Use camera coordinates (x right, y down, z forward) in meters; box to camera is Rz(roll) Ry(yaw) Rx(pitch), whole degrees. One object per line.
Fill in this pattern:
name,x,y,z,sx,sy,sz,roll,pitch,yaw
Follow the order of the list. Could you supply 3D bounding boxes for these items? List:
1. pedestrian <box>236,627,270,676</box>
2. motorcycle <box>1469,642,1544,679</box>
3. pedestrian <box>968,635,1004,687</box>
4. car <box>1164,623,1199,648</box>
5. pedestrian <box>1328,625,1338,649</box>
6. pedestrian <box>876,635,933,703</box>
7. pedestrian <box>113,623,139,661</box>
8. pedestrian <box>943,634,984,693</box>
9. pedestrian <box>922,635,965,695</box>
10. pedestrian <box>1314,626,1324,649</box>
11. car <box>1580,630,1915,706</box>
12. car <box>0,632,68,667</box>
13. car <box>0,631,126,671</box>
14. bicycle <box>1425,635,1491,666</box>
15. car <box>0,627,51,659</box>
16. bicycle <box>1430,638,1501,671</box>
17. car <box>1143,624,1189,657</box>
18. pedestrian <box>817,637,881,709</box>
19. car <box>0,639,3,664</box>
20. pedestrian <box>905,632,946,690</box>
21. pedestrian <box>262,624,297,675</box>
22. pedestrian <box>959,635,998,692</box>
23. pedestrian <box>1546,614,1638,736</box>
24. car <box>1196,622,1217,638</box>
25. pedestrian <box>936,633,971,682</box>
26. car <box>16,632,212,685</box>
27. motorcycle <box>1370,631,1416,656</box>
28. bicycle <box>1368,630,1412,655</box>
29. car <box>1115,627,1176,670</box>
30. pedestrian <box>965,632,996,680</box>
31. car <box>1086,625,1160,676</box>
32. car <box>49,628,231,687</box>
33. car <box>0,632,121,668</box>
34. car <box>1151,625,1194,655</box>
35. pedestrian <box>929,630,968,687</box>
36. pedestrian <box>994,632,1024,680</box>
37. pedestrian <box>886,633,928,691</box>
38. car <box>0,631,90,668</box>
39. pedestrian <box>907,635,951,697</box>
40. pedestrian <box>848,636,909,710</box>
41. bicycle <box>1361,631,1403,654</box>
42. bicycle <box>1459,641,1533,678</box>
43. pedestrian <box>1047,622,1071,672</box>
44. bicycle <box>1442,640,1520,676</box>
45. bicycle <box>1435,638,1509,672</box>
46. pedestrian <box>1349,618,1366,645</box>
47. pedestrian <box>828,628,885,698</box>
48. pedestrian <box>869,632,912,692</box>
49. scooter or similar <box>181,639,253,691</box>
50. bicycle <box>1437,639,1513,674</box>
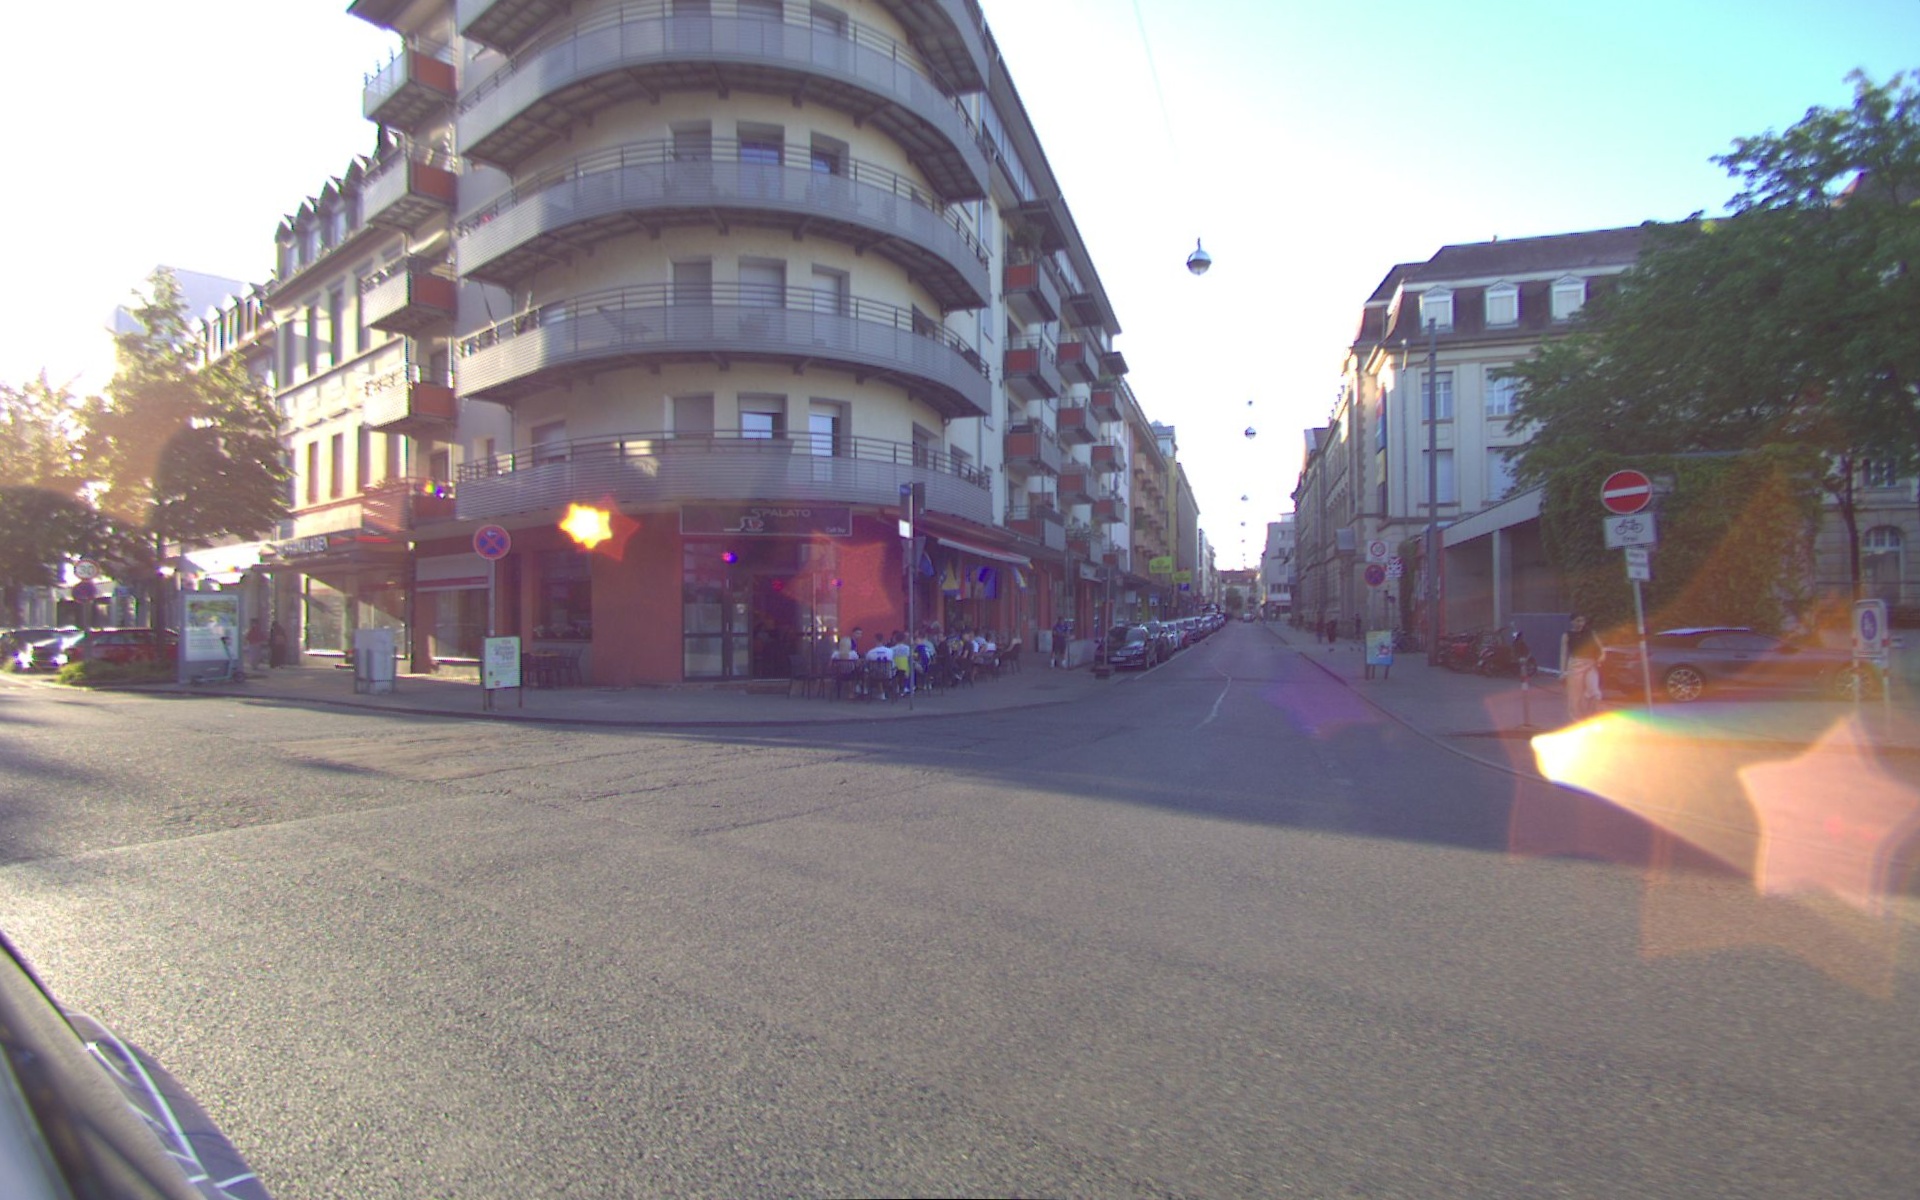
pedestrian,-23.258,1.677,33.304,0.875,1.539,0.726,0,0,41
motorcycle,13.973,1.544,25.892,1.774,0.887,0.512,-1,-2,-13
pedestrian,0.644,1.502,25.079,0.698,1.234,0.616,0,-1,27
car,14.563,2.329,66.486,1.953,1.608,3.978,-1,-2,17
pedestrian,22.480,2.229,60.996,0.513,1.407,0.397,-1,-2,13
pedestrian,-1.073,1.322,19.570,0.827,1.256,0.715,0,-1,34
pedestrian,-39.270,1.973,47.651,0.875,1.734,0.764,0,0,41
pedestrian,0.072,1.425,22.912,0.699,1.297,0.615,0,-1,31
pedestrian,-0.359,1.402,22.078,0.699,1.256,0.615,0,-1,31
pedestrian,21.742,2.257,61.281,0.537,1.407,0.383,-1,-2,14
car,14.576,1.260,19.020,4.478,1.328,1.994,-1,-2,10
car,-43.717,2.290,46.758,1.714,1.513,3.521,-2,-1,39
car,-36.384,2.016,40.726,1.881,1.414,4.068,-2,-1,38
bicycle,15.696,1.592,31.952,0.502,0.930,1.808,0,-2,-37
car,-49.541,2.244,51.704,1.888,1.608,4.363,-3,-1,39
bicycle,14.896,1.598,29.882,1.791,0.930,0.507,-2,-2,20
car,10.572,2.042,51.808,1.953,1.608,3.978,-1,-2,17
pedestrian,-2.035,1.319,18.614,0.765,1.251,0.891,0,-1,32
car,-61.130,3.194,61.472,1.743,1.495,4.231,-2,-1,40
pedestrian,-0.795,1.412,23.517,0.699,1.297,0.650,0,-1,31
pedestrian,-22.787,1.647,33.891,0.875,1.620,0.764,0,0,41
pedestrian,0.440,1.472,23.780,0.699,1.297,0.615,0,-1,31
pedestrian,8.500,0.991,13.650,0.760,1.579,0.896,-1,-2,15
car,25.380,3.035,104.161,1.953,1.608,3.978,-1,-2,17
pedestrian,-0.168,1.484,26.187,0.698,1.234,0.616,0,-1,27
car,-26.932,1.801,32.352,1.819,1.418,4.526,-2,-1,39
motorcycle,19.302,1.945,45.127,1.791,1.087,0.507,-2,-2,20
bicycle,19.474,1.944,45.825,1.793,1.087,0.507,-2,-2,23
car,7.412,1.896,40.185,1.953,1.608,3.978,-1,-2,17
pedestrian,0.576,1.543,28.150,0.696,1.297,0.618,0,-1,19
car,5.573,1.668,34.209,1.953,1.608,3.978,-1,-2,17
car,-24.830,1.691,30.756,1.883,1.548,4.031,-2,-1,40
car,-38.206,2.083,42.727,1.842,1.414,4.054,-2,-2,42
car,11.826,2.179,56.162,1.953,1.608,3.978,-1,-2,17
pedestrian,-0.280,1.406,24.545,0.699,1.343,0.615,0,-1,31
pedestrian,1.372,1.553,28.206,0.696,1.297,0.618,0,-1,19
pedestrian,-1.175,1.371,22.532,0.699,1.256,0.615,0,-1,31
car,-40.668,2.147,44.267,1.803,1.455,3.703,-2,-1,37
pedestrian,-0.652,1.380,21.397,0.699,1.256,0.615,0,-1,31
pedestrian,-1.474,1.304,18.327,0.746,1.283,0.820,0,-1,32
bicycle,19.936,1.997,47.779,1.794,1.016,0.506,-2,-2,24
bicycle,14.214,1.571,26.841,1.775,0.887,0.512,-1,-2,-10
pedestrian,3.030,1.431,30.882,0.616,1.480,0.698,1,-1,14
bicycle,14.287,1.577,27.767,1.783,0.930,0.510,-2,-2,7
bicycle,14.696,1.587,29.055,1.784,0.930,0.509,-2,-2,10
pedestrian,23.792,1.900,60.558,0.837,1.610,0.729,-2,-2,29
pedestrian,-2.066,1.237,20.196,0.827,1.358,0.740,0,-1,34
pedestrian,-1.500,1.323,21.875,0.699,1.256,0.615,0,-1,31
scooter or similar,-19.035,1.652,25.947,0.525,1.235,1.385,-2,-1,37
bicycle,14.456,1.578,28.430,1.784,0.930,0.509,-2,-2,10
